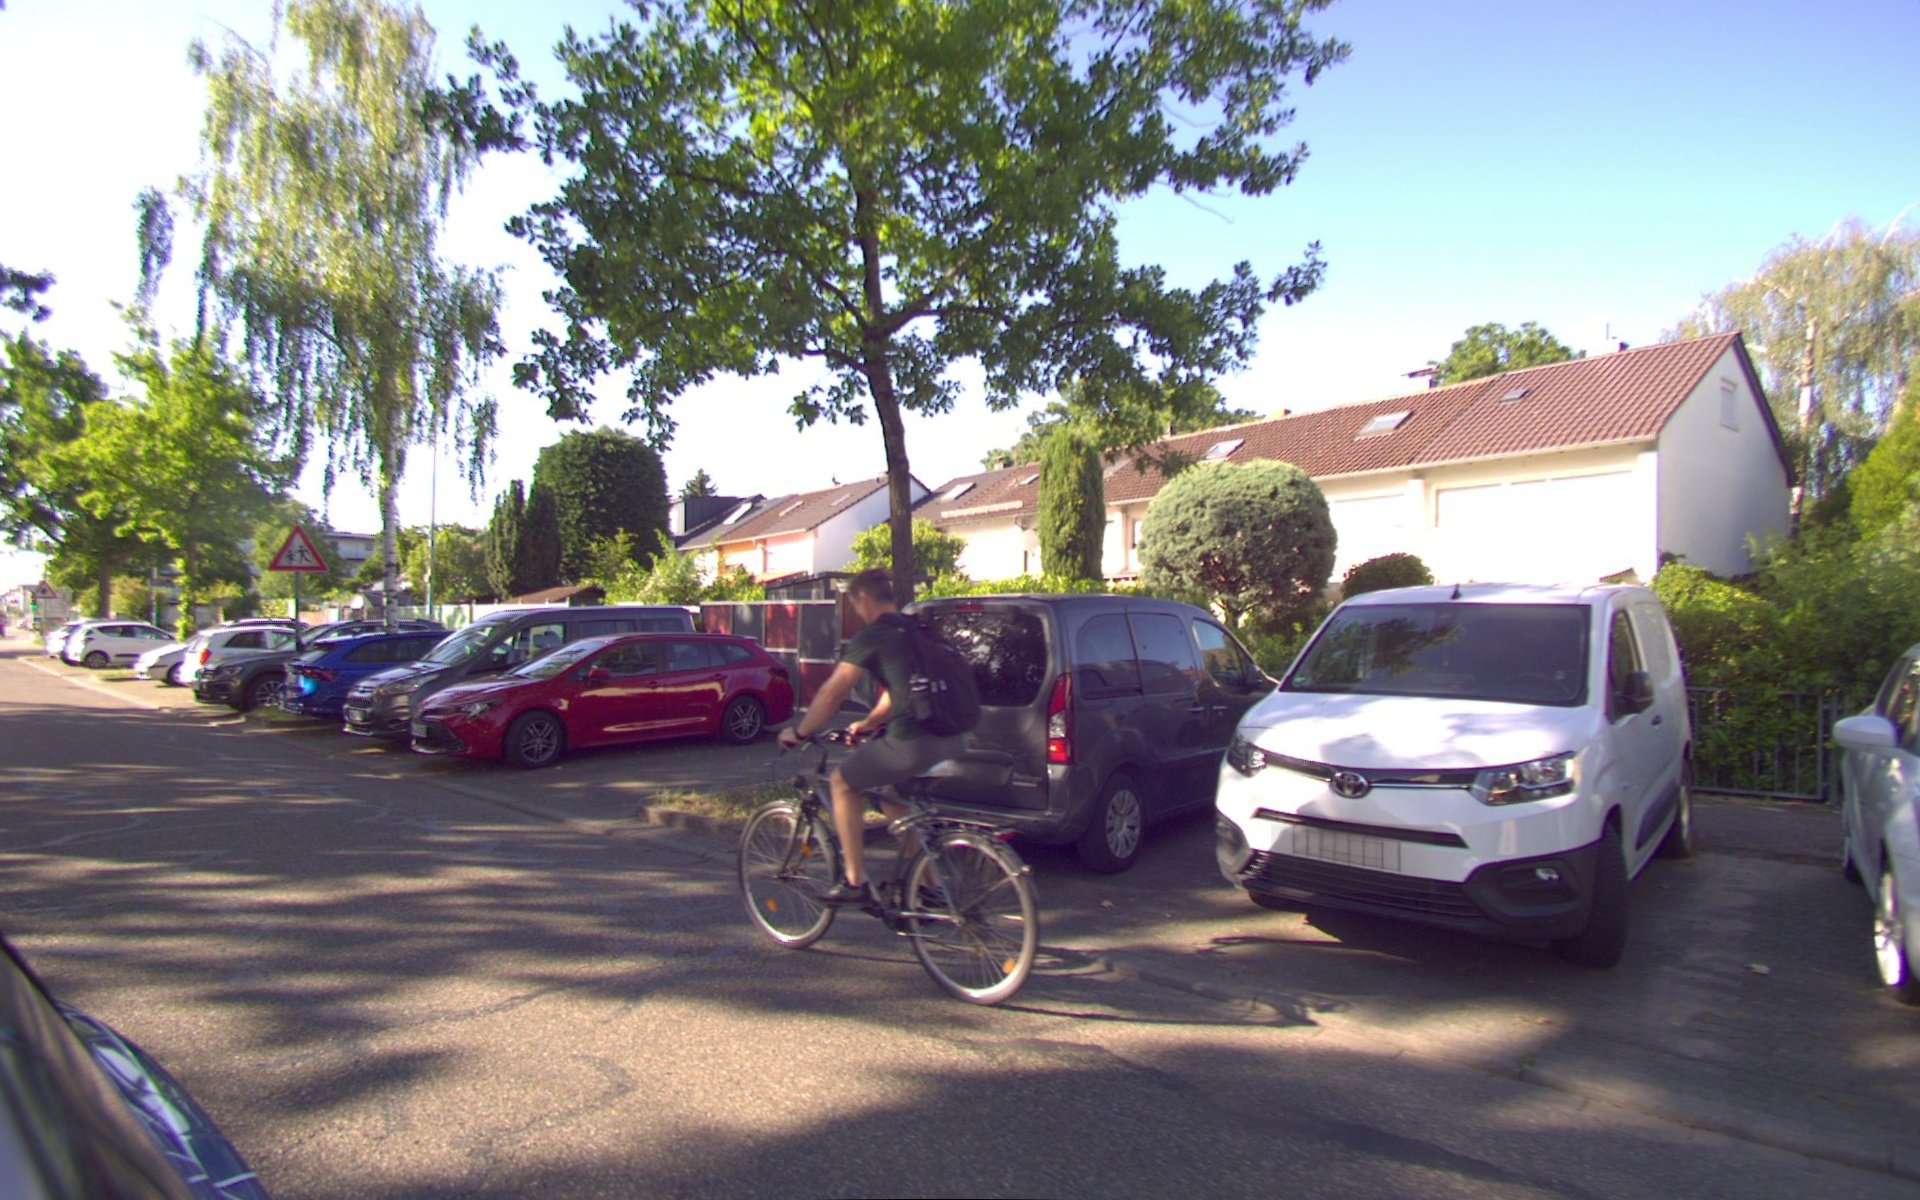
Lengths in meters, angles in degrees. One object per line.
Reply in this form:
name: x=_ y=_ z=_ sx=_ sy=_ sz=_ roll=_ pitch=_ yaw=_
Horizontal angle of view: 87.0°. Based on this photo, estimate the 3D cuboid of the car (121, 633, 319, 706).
car: x=-19.024 y=1.719 z=26.114 sx=1.706 sy=1.626 sz=3.895 roll=-2 pitch=-1 yaw=43

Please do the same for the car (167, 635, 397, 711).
car: x=-15.073 y=1.562 z=22.656 sx=1.795 sy=1.526 sz=3.957 roll=-1 pitch=-3 yaw=43

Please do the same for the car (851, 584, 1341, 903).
car: x=1.316 y=0.824 z=7.945 sx=1.965 sy=1.783 sz=4.198 roll=-1 pitch=-1 yaw=38

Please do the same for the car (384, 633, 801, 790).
car: x=-4.274 y=1.180 z=12.320 sx=1.837 sy=1.511 sz=4.426 roll=-2 pitch=-2 yaw=44

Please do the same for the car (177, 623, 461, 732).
car: x=-11.797 y=1.329 z=18.841 sx=1.760 sy=1.737 sz=4.166 roll=-1 pitch=-1 yaw=41

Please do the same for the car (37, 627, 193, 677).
car: x=-29.995 y=1.806 z=36.017 sx=1.918 sy=1.586 sz=3.918 roll=0 pitch=0 yaw=35

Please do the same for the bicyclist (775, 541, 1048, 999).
bicyclist: x=-0.213 y=0.648 z=4.309 sx=0.975 sy=1.687 sz=0.589 roll=-2 pitch=-5 yaw=42

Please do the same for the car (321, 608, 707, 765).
car: x=-6.005 y=1.041 z=14.135 sx=1.794 sy=1.782 sz=4.625 roll=-2 pitch=-1 yaw=40

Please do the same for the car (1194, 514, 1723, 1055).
car: x=3.211 y=0.730 z=5.963 sx=1.997 sy=1.959 sz=4.196 roll=0 pitch=-2 yaw=38

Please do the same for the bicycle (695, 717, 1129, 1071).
bicycle: x=-0.293 y=1.099 z=4.339 sx=1.985 sy=1.066 sz=0.590 roll=-1 pitch=-5 yaw=42

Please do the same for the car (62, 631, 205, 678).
car: x=-28.021 y=1.815 z=34.369 sx=1.707 sy=1.507 sz=3.478 roll=-2 pitch=-3 yaw=40

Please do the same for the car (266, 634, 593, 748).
car: x=-8.145 y=1.300 z=15.832 sx=1.724 sy=1.435 sz=4.224 roll=-2 pitch=-1 yaw=43

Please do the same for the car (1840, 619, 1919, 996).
car: x=5.284 y=0.849 z=4.566 sx=1.688 sy=1.528 sz=3.949 roll=-1 pitch=-2 yaw=37

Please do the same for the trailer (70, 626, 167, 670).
trailer: x=-33.300 y=1.868 z=40.079 sx=1.298 sy=1.660 sz=2.732 roll=1 pitch=0 yaw=38
